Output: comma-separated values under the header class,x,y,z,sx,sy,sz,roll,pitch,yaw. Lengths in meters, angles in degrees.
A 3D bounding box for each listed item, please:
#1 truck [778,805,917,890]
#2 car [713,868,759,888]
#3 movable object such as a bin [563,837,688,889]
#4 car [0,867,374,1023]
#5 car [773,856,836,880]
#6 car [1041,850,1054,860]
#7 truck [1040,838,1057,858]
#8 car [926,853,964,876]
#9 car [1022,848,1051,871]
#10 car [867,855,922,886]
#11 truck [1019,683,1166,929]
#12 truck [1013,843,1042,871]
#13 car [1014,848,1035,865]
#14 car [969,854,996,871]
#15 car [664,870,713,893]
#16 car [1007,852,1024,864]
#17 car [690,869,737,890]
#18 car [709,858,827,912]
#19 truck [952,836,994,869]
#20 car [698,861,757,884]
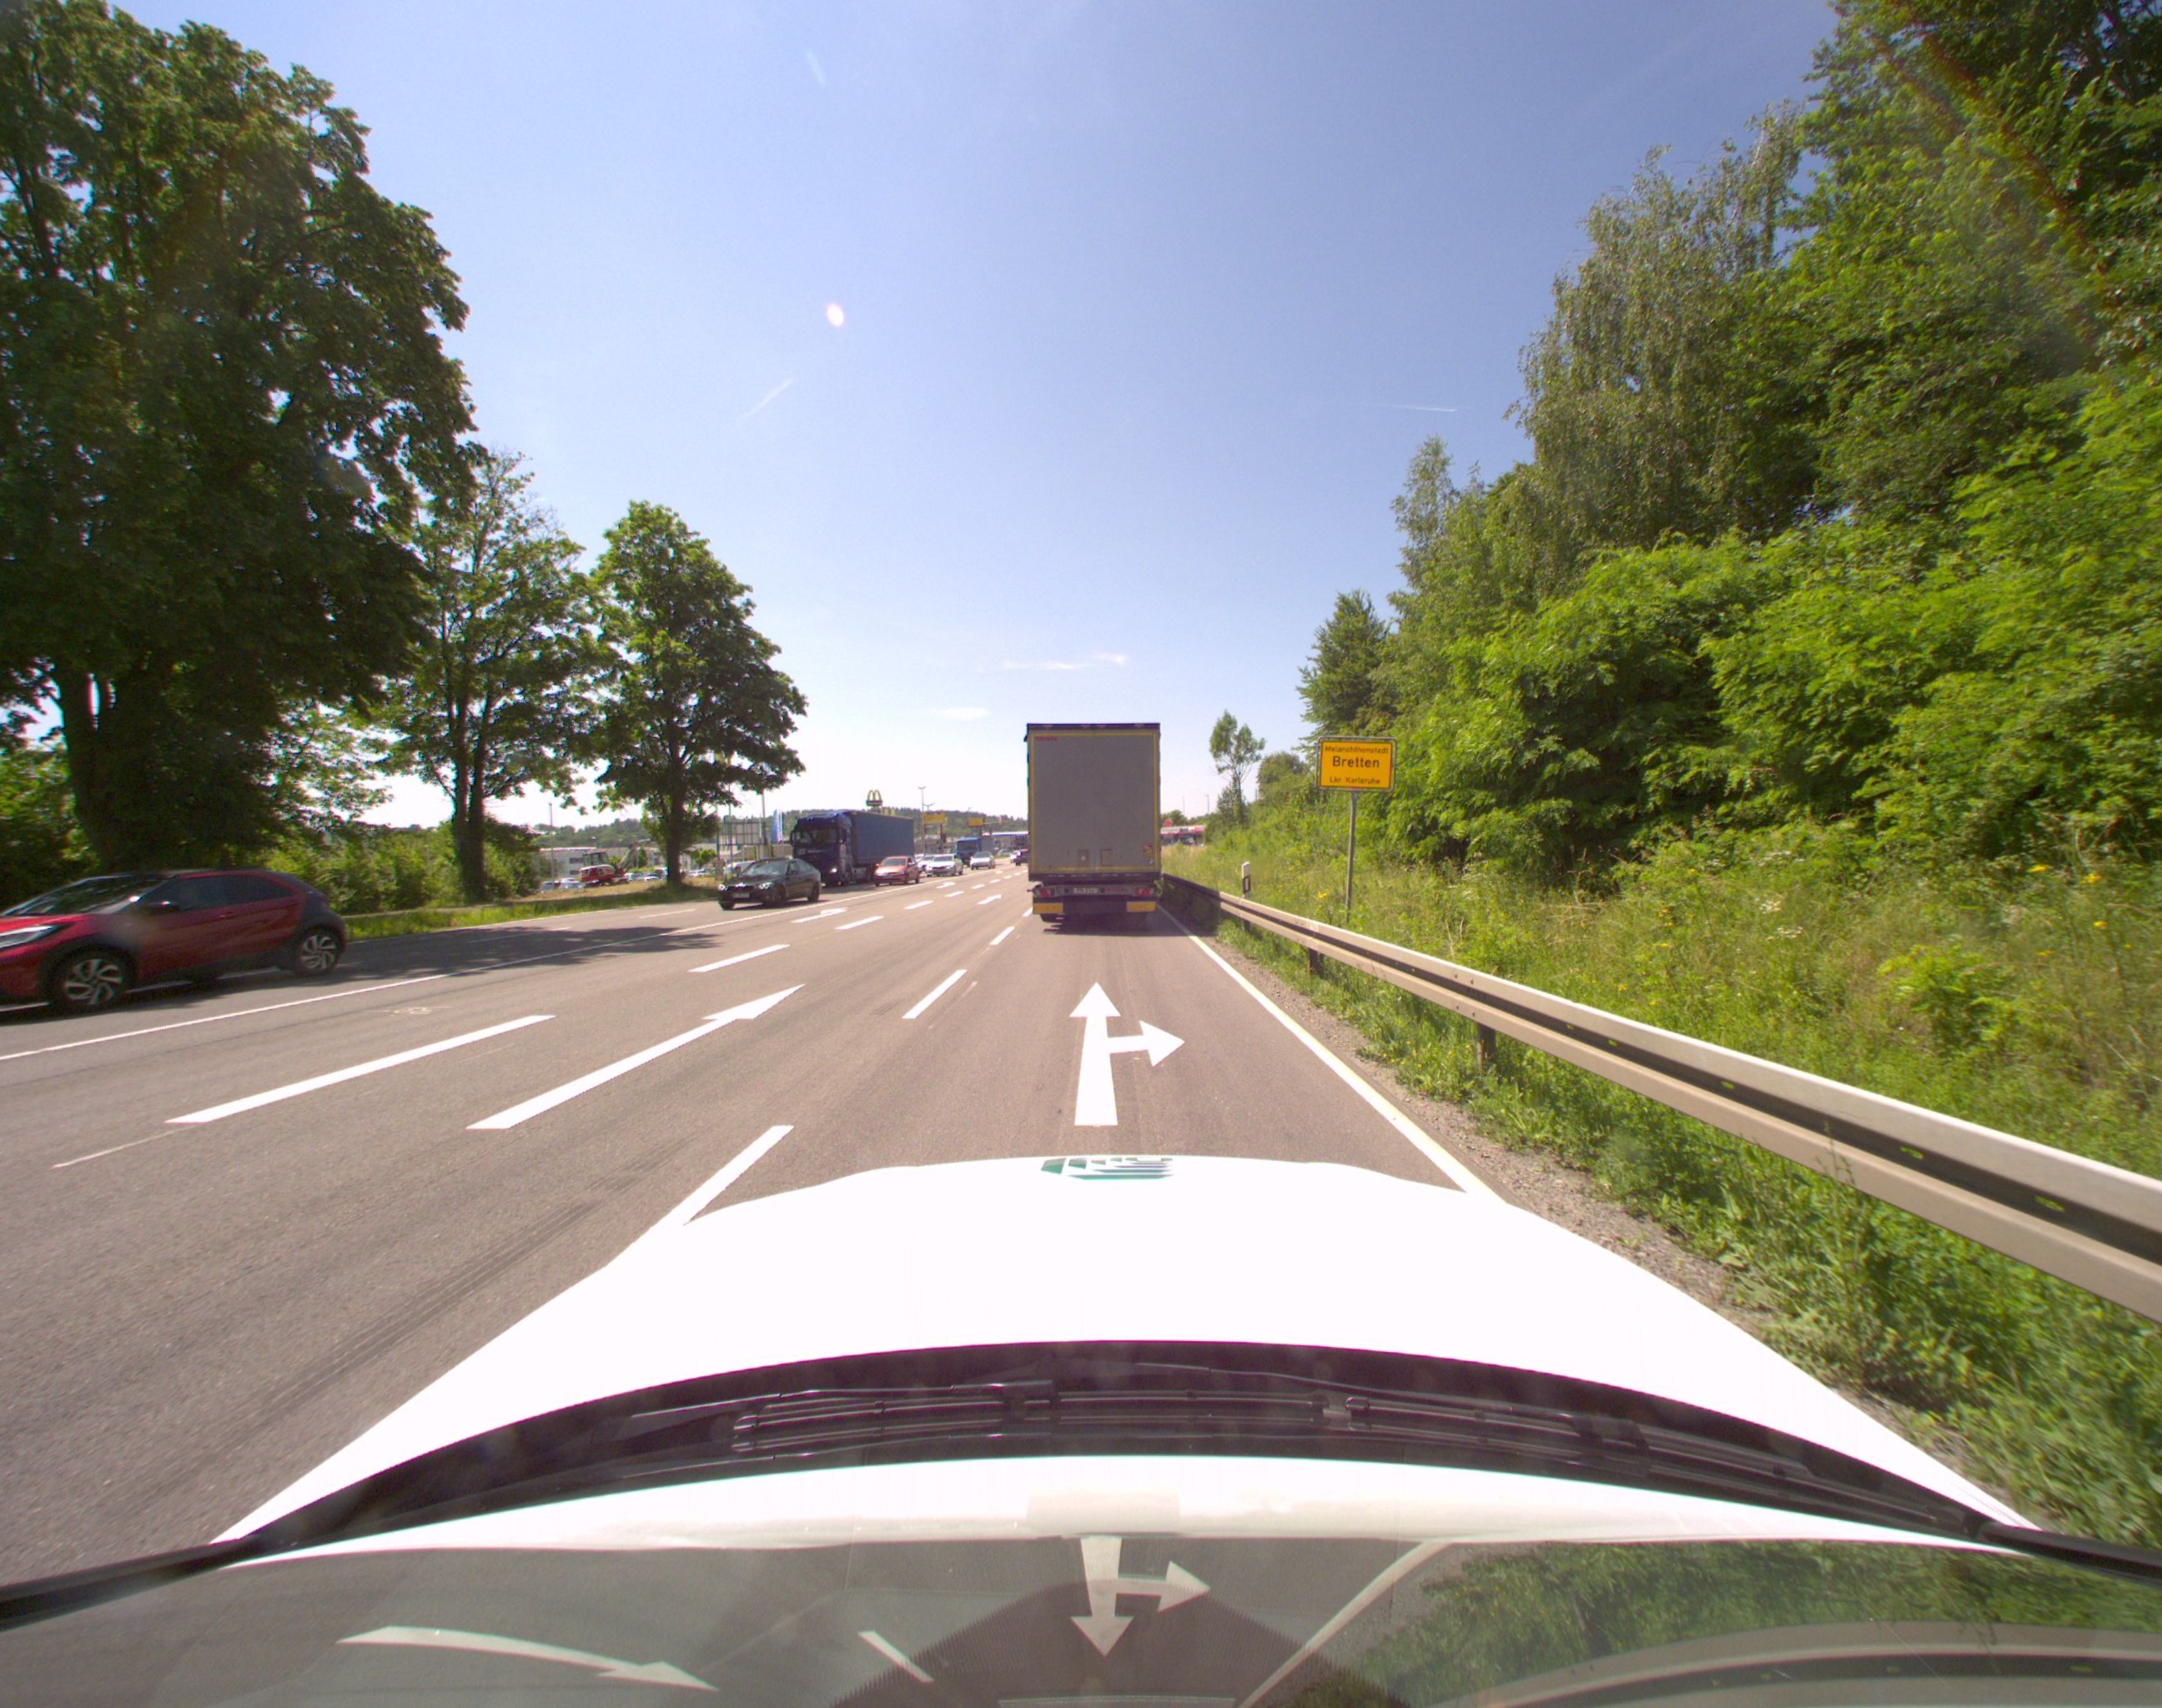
class,x,y,z,sx,sy,sz,roll,pitch,yaw
truck,-13.351,-0.339,49.008,2.957,4.176,16.581,-2,0,2
car,-28.618,1.992,67.527,3.948,1.618,1.852,-2,0,39
movable object such as a bin,-31.350,0.571,56.239,3.014,3.298,6.834,-2,0,42
car,-11.213,0.935,9.901,1.636,1.438,4.017,-2,0,1
car,-25.695,1.276,75.621,5.233,2.013,1.981,-2,0,-29
car,-5.593,0.197,136.667,1.734,1.503,4.408,-3,-1,2
truck,-7.047,-1.281,179.942,2.925,3.950,14.236,-2,0,0
car,-8.995,0.659,54.288,1.694,1.415,4.562,-2,0,0
car,-3.394,0.406,62.951,1.797,1.670,4.295,-1,0,3
car,-9.360,0.787,41.190,1.760,1.445,3.776,-2,0,1
truck,0.300,-0.819,23.778,2.746,4.639,16.654,-1,-1,1
truck,-9.077,0.368,139.999,3.134,4.348,17.548,-3,1,1
car,-5.747,0.240,82.692,1.788,1.627,4.368,-2,0,0
car,-8.838,0.731,73.175,1.755,1.428,4.181,-2,0,2
car,-30.951,2.158,64.204,3.948,1.651,2.013,-2,0,39
car,-8.235,0.506,102.808,1.784,1.426,4.262,-1,0,-1
car,-29.842,2.042,66.114,3.948,1.618,1.852,-2,0,39
car,-9.832,0.916,26.026,1.913,1.481,4.685,-2,0,0
truck,-11.766,-0.175,90.168,2.836,3.351,11.484,-2,0,1
car,-36.416,1.853,84.051,1.974,2.183,5.226,-2,0,39
